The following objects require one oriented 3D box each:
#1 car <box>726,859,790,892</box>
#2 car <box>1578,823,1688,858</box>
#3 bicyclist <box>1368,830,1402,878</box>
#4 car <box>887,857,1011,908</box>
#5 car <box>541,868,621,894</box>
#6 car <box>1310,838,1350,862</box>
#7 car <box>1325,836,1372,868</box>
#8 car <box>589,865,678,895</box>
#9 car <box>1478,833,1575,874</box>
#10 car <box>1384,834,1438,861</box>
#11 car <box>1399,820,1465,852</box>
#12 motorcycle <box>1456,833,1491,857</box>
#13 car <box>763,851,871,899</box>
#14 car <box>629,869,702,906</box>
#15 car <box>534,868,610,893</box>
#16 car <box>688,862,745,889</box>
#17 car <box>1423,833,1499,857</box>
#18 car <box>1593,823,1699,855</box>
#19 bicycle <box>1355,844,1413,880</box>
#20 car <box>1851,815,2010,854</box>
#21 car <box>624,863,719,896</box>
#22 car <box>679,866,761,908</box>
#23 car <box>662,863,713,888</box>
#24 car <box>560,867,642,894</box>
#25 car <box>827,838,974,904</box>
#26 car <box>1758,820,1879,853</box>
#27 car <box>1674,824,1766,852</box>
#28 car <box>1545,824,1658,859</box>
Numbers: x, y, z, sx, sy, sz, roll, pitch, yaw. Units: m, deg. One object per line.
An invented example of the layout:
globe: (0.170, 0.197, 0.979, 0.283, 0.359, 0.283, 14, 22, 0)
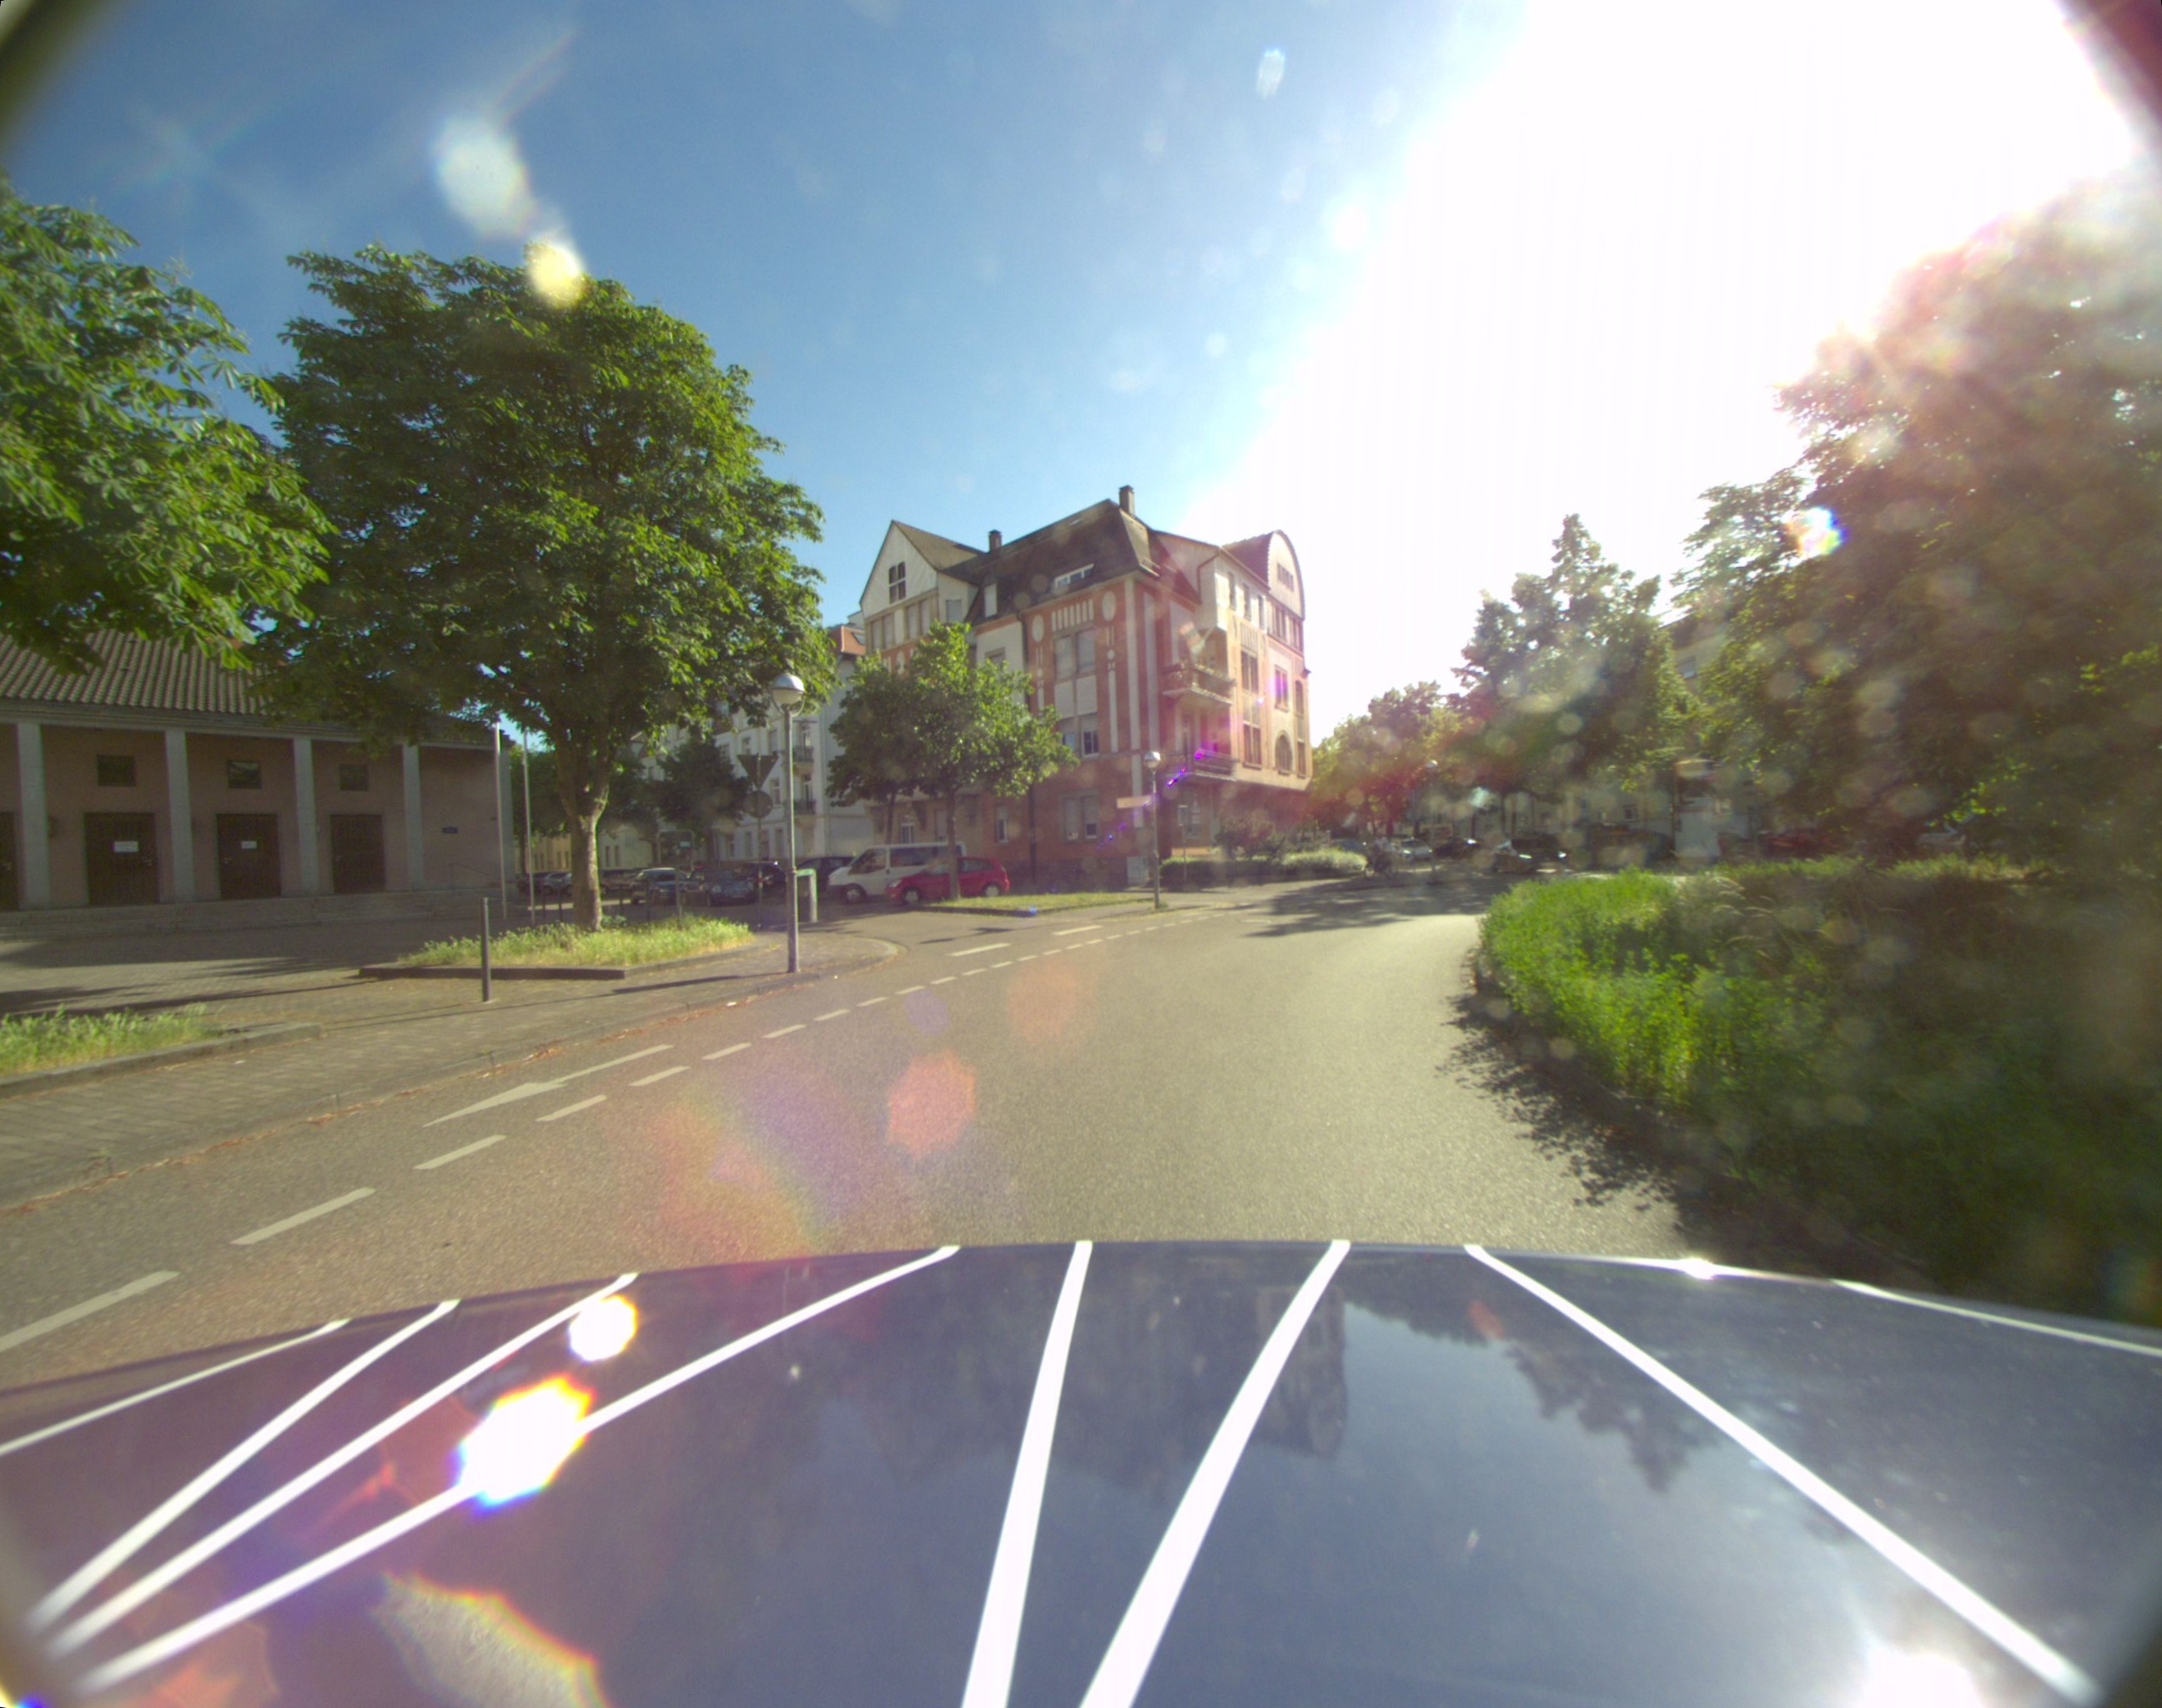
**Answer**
car: (-17.504, 1.136, 41.097, 3.944, 1.648, 1.765, -1, 1, 45)
car: (26.192, -0.623, 36.136, 3.989, 1.464, 1.763, -2, 1, 44)
bicyclist: (11.039, 0.000, 27.638, 0.813, 1.686, 0.764, -2, 2, -17)
car: (-4.252, 0.869, 24.321, 3.698, 1.427, 1.667, -2, 1, -16)
car: (-32.877, 1.732, 50.039, 3.956, 1.488, 1.759, -2, 1, -11)
car: (17.524, -0.280, 53.647, 1.796, 1.445, 4.211, -4, 0, 7)
car: (16.730, -0.140, 47.651, 1.796, 1.756, 4.211, -4, 0, 7)
car: (-25.667, 1.475, 43.693, 3.956, 1.488, 1.759, -2, 1, -11)
car: (17.709, -0.039, 30.438, 1.796, 1.427, 4.211, -3, 0, 7)
car: (19.717, -0.375, 45.580, 1.796, 1.427, 4.211, -3, 0, 7)
car: (29.153, -1.445, 63.213, 4.582, 2.476, 1.990, -2, 1, 39)
motorcycle: (23.604, -0.531, 45.733, 1.800, 1.340, 0.727, -2, 1, -13)
car: (-10.581, 0.792, 30.765, 3.957, 1.728, 1.759, -2, 1, -16)
car: (-17.402, 1.359, 31.765, 3.603, 1.414, 1.617, -1, 1, 44)
car: (-35.099, 1.816, 52.518, 3.959, 1.488, 1.758, -2, 1, -20)
car: (-21.690, 1.271, 45.148, 3.944, 1.447, 1.765, -1, 1, 45)
car: (24.536, -0.558, 49.077, 3.989, 1.433, 1.827, -2, 1, 43)
car: (28.913, -0.739, 39.026, 3.993, 1.464, 1.761, -2, 1, 13)
bicycle: (11.032, 0.274, 27.654, 1.871, 1.191, 0.764, -2, 1, -17)
car: (34.519, -0.752, 31.096, 1.731, 1.403, 4.491, -2, 0, 5)
car: (-21.131, 1.320, 39.362, 3.956, 1.488, 1.759, -2, 1, -11)
car: (-13.765, 1.228, 28.905, 3.603, 1.414, 1.617, -1, 1, 44)
car: (-25.668, 1.381, 49.541, 3.944, 1.447, 1.765, -1, 1, 45)
car: (-30.009, 1.619, 47.619, 3.956, 1.488, 1.759, -2, 1, -11)
car: (-6.232, 0.552, 26.502, 4.707, 2.033, 1.991, -2, 1, -13)
car: (34.922, -0.814, 36.170, 1.733, 1.430, 4.389, -2, 0, 5)
car: (35.626, -0.873, 42.511, 1.733, 1.430, 4.389, -2, 0, 5)
car: (23.897, -0.559, 34.981, 1.763, 1.464, 3.989, -2, 1, -45)
